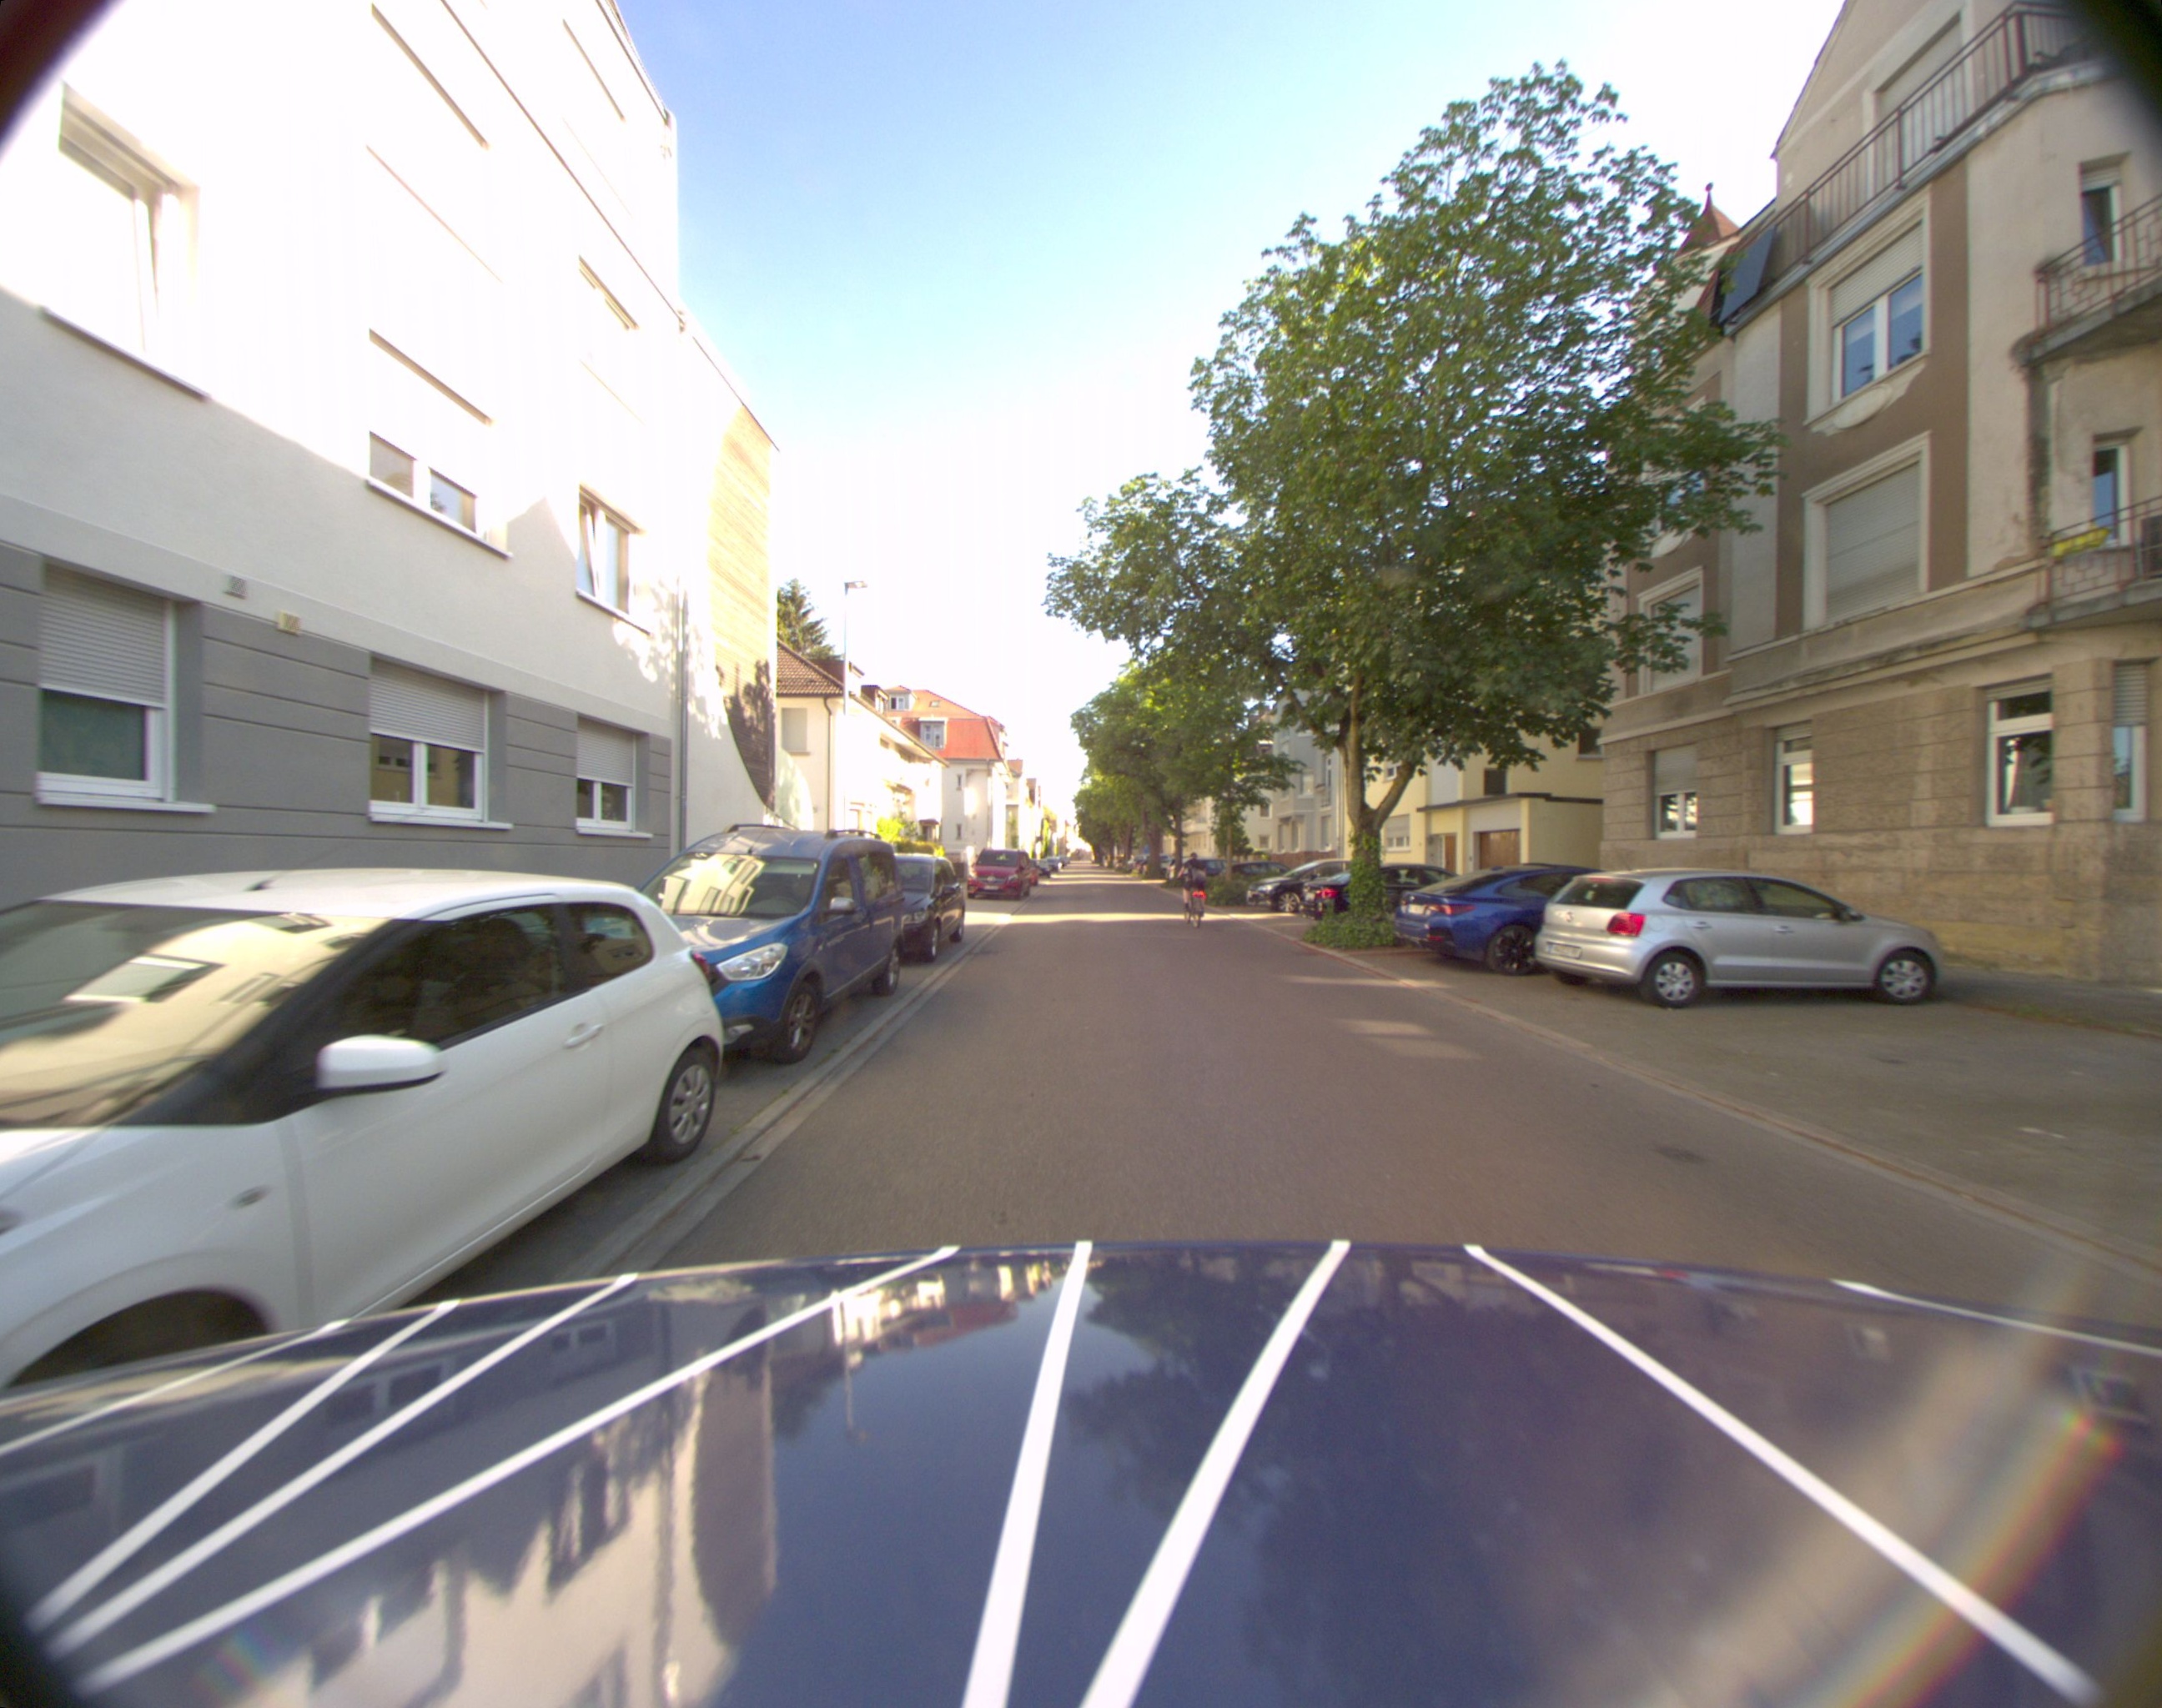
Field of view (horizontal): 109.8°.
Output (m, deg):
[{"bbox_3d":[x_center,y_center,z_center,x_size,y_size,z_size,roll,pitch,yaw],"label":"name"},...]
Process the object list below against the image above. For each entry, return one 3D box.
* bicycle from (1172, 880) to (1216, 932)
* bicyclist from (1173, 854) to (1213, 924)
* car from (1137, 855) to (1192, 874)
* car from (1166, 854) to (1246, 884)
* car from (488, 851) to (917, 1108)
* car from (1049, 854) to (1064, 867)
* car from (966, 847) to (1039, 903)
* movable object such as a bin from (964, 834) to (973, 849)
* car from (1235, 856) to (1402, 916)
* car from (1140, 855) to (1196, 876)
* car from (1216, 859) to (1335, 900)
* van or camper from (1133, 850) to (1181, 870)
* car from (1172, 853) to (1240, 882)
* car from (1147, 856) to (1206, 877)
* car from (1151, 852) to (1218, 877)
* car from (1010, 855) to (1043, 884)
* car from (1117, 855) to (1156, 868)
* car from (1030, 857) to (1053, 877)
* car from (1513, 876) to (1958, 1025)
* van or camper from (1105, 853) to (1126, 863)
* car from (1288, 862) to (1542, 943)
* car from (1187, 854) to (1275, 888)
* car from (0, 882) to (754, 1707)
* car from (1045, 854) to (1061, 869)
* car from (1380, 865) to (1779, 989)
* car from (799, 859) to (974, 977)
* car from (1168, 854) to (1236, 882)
[{"bbox_3d":[2.554,1.159,17.408,0.721,1.072,1.890,1,0,0],"label":"bicycle"},{"bbox_3d":[2.531,0.767,17.337,0.723,1.528,1.137,1,0,0],"label":"bicyclist"},{"bbox_3d":[6.745,0.845,61.478,4.198,1.490,1.861,1,0,-1],"label":"car"},{"bbox_3d":[6.744,0.796,41.311,4.033,1.476,1.806,-2,0,-1],"label":"car"},{"bbox_3d":[-2.837,0.782,6.897,1.686,1.427,4.264,4,1,0],"label":"car"},{"bbox_3d":[-3.060,0.785,96.431,1.713,1.428,4.192,2,1,-1],"label":"car"},{"bbox_3d":[-2.897,0.712,29.233,1.875,1.894,5.198,1,1,4],"label":"car"},{"bbox_3d":[-8.140,-0.873,54.858,0.557,1.056,0.696,-2,2,-4],"label":"movable object such as a bin"},{"bbox_3d":[6.874,0.891,22.232,4.186,1.492,1.998,-2,1,-8],"label":"car"},{"bbox_3d":[6.653,0.868,58.509,3.998,1.583,1.878,1,0,-2],"label":"car"},{"bbox_3d":[7.237,0.934,28.515,3.997,1.413,1.771,-1,-1,-1],"label":"car"},{"bbox_3d":[7.330,0.613,73.563,4.508,1.903,1.964,0,1,0],"label":"van or camper"},{"bbox_3d":[7.178,0.748,43.741,3.525,1.566,1.770,-1,0,-5],"label":"car"},{"bbox_3d":[6.869,0.881,54.889,3.997,1.460,1.697,1,0,-1],"label":"car"},{"bbox_3d":[7.080,0.719,52.379,4.397,1.642,1.823,1,0,1],"label":"car"},{"bbox_3d":[-3.010,0.832,42.363,1.596,1.472,3.247,2,0,0],"label":"car"},{"bbox_3d":[6.861,0.939,93.541,4.602,1.597,1.832,1,0,-3],"label":"car"},{"bbox_3d":[-2.975,0.953,58.332,1.624,1.431,3.934,3,0,-2],"label":"car"},{"bbox_3d":[7.162,1.005,8.586,3.589,1.422,1.730,0,0,-2],"label":"car"},{"bbox_3d":[6.547,0.728,144.406,3.954,1.763,1.809,0,-1,-1],"label":"van or camper"},{"bbox_3d":[6.843,0.958,15.880,4.486,1.470,1.868,-1,1,-2],"label":"car"},{"bbox_3d":[7.198,0.809,36.766,4.030,1.436,1.801,-1,1,9],"label":"car"},{"bbox_3d":[-2.749,0.955,2.536,1.568,1.403,3.729,4,1,1],"label":"car"},{"bbox_3d":[-3.179,0.780,84.334,1.667,1.511,3.999,2,1,-3],"label":"car"},{"bbox_3d":[6.845,0.961,10.784,4.486,1.470,1.868,-1,1,-2],"label":"car"},{"bbox_3d":[-2.963,0.890,12.504,1.741,1.522,4.178,3,0,0],"label":"car"},{"bbox_3d":[7.342,0.842,46.437,3.872,1.566,1.848,-1,0,3],"label":"car"}]
